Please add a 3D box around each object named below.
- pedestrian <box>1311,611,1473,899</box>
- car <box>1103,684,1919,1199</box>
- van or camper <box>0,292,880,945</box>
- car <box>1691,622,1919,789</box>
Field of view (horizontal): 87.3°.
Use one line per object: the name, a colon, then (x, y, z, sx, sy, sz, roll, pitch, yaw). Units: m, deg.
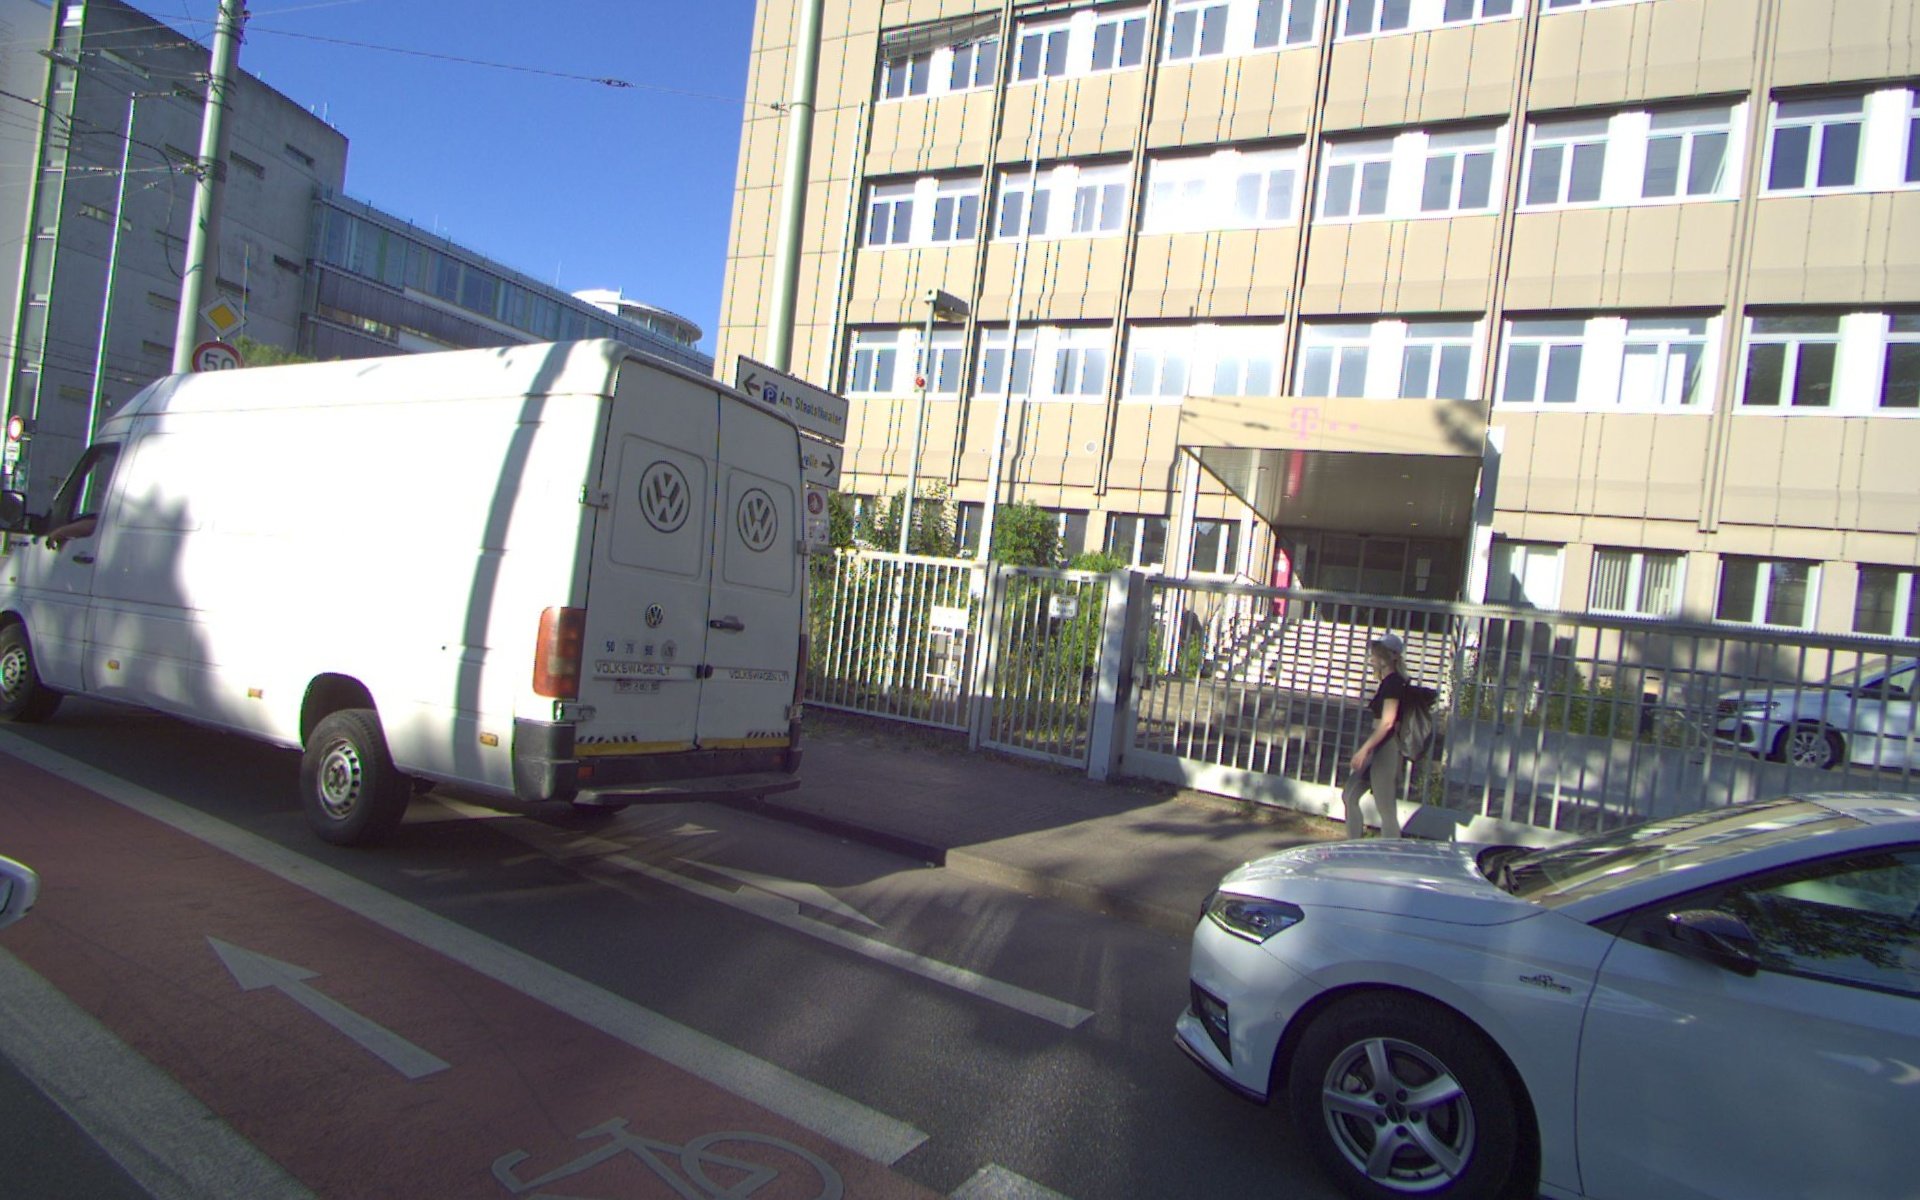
pedestrian: (2.966, 1.019, 6.897, 0.757, 1.784, 0.591, 7, 1, 32)
car: (2.686, 1.253, 3.014, 4.006, 1.405, 1.705, 7, -1, 30)
van or camper: (-3.795, -0.157, 6.561, 6.196, 2.748, 1.973, 7, -1, 29)
car: (12.814, 1.528, 13.247, 4.701, 1.865, 1.998, 7, 0, 27)
